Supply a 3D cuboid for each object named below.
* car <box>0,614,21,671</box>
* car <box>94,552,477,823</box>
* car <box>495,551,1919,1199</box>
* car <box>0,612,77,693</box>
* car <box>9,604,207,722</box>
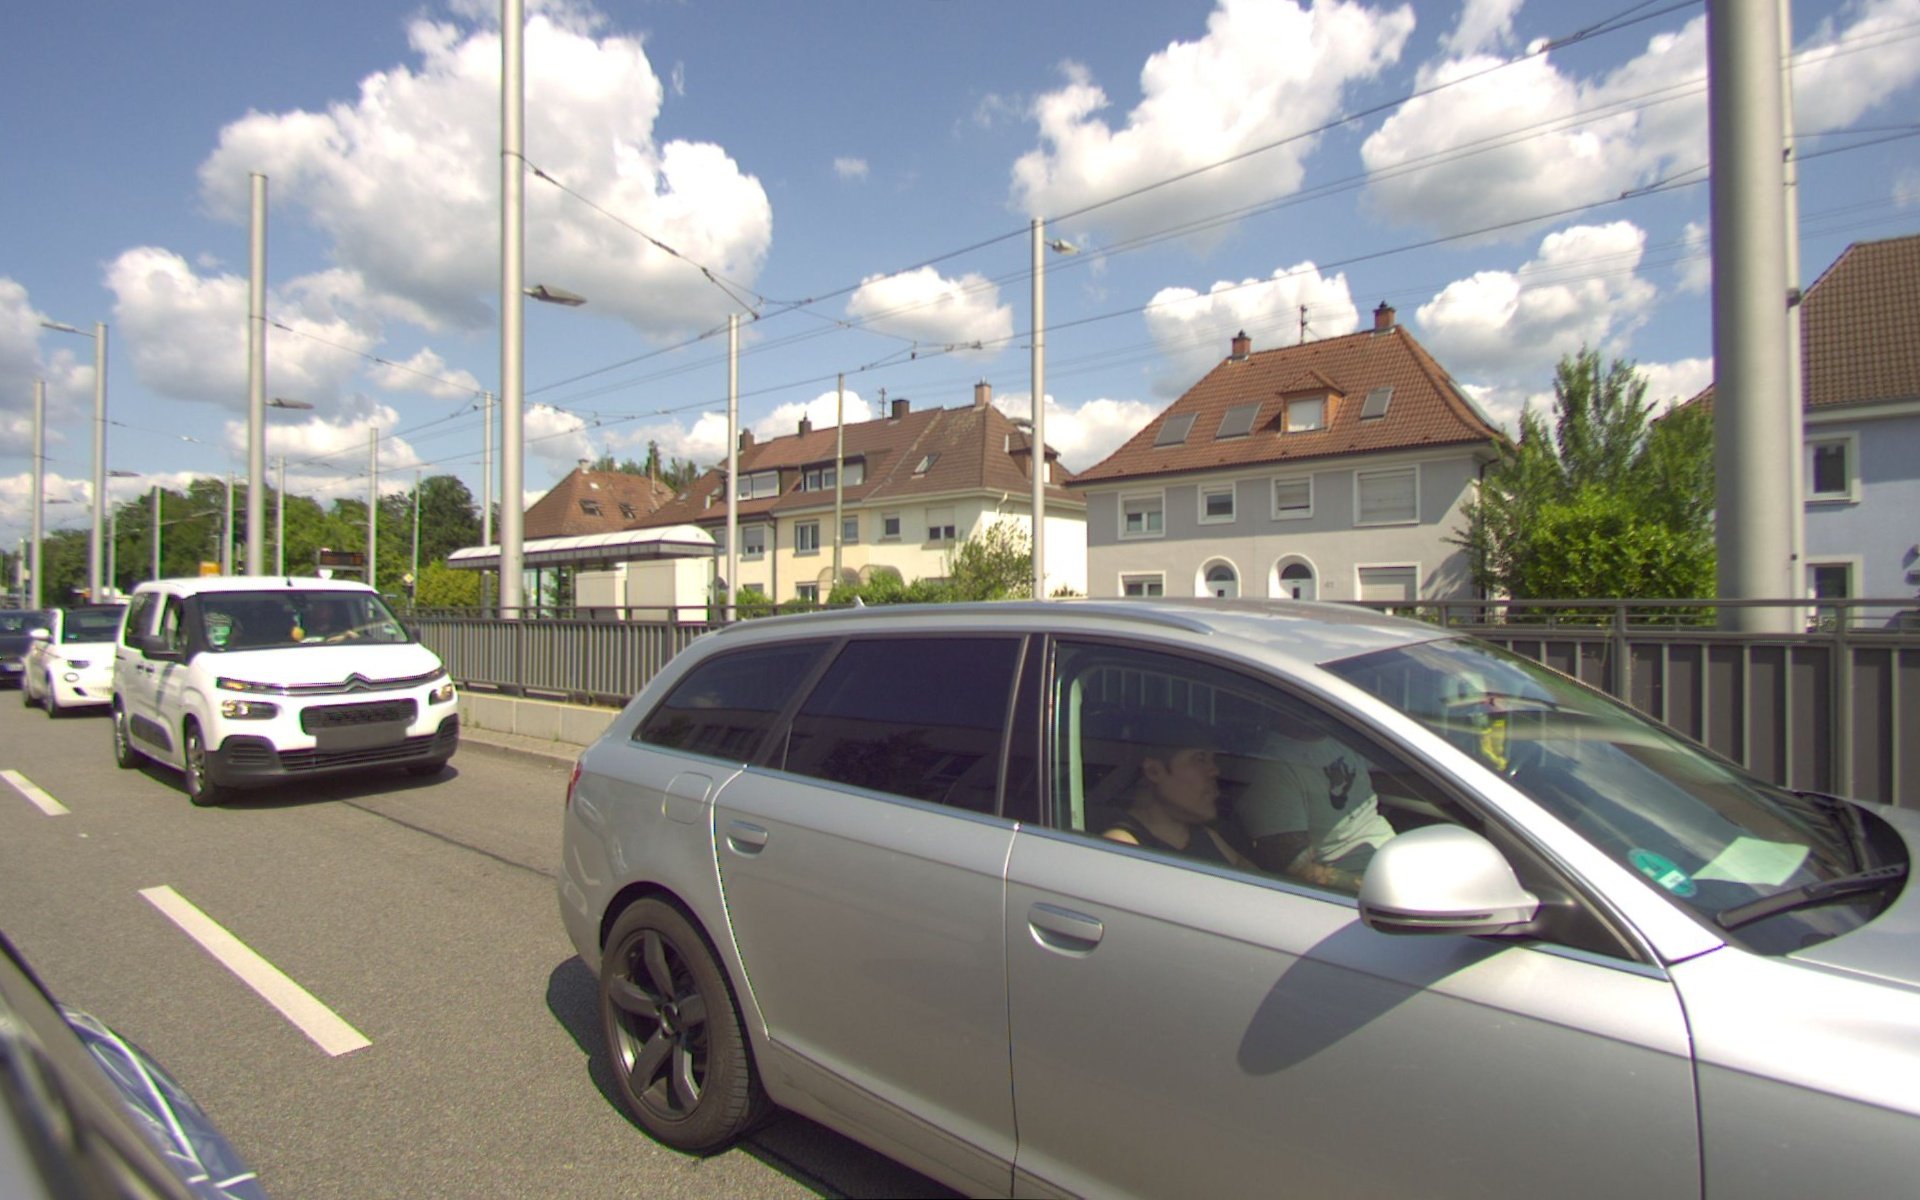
[{"bbox_3d":[-25.504,1.080,25.940,4.497,1.368,1.676,0,0,41],"label":"car"},{"bbox_3d":[-6.095,0.590,8.927,4.328,1.829,1.776,0,0,42],"label":"car"},{"bbox_3d":[0.859,0.686,2.375,4.720,1.483,1.776,0,0,41],"label":"car"},{"bbox_3d":[-18.615,0.981,19.672,3.556,1.433,1.659,0,0,40],"label":"car"},{"bbox_3d":[-12.576,0.845,14.889,3.390,1.515,1.659,-1,0,40],"label":"car"}]
